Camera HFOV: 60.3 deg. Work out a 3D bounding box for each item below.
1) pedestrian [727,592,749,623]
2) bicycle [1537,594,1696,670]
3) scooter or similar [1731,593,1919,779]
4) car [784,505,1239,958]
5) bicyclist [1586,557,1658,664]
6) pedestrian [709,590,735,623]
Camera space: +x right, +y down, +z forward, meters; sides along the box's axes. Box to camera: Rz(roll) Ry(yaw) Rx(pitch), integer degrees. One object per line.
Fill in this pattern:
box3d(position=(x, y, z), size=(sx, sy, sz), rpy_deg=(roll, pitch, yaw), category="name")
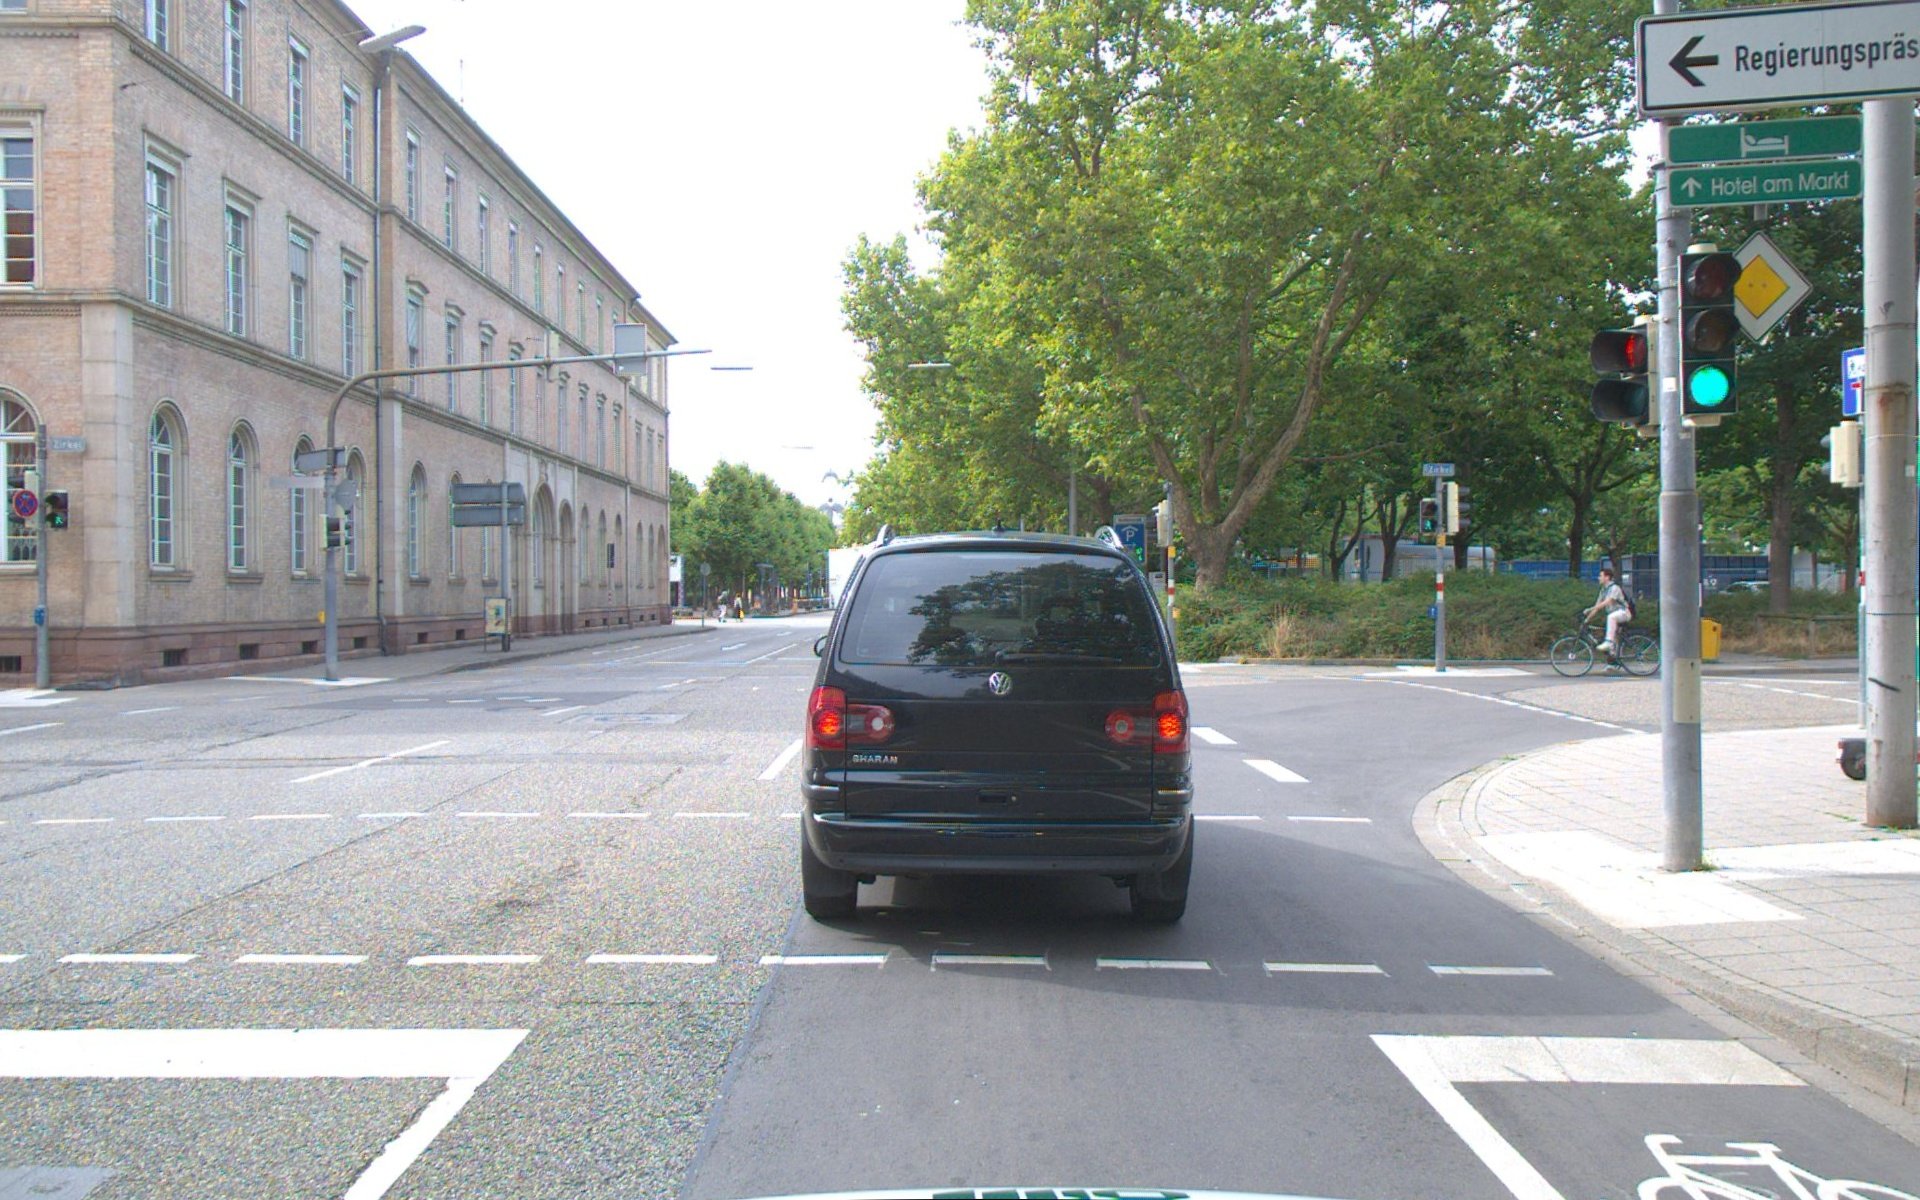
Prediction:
box3d(position=(-12.193, 0.405, 90.732), size=(0.877, 1.670, 0.853), rpy_deg=(1, 0, 17), category="pedestrian")
box3d(position=(10.614, 0.525, 26.800), size=(2.197, 1.193, 0.916), rpy_deg=(-1, -1, 4), category="bicycle")
box3d(position=(6.160, 0.596, 11.605), size=(1.279, 1.230, 0.344), rpy_deg=(-3, 0, 3), category="scooter or similar")
box3d(position=(0.154, 0.498, 8.519), size=(1.757, 1.738, 4.130), rpy_deg=(-1, 0, -2), category="car")
box3d(position=(10.722, 0.178, 26.803), size=(0.811, 1.707, 0.916), rpy_deg=(0, -1, 3), category="bicyclist")
box3d(position=(-13.078, 0.372, 91.063), size=(0.940, 1.772, 1.256), rpy_deg=(1, 0, 17), category="pedestrian")
